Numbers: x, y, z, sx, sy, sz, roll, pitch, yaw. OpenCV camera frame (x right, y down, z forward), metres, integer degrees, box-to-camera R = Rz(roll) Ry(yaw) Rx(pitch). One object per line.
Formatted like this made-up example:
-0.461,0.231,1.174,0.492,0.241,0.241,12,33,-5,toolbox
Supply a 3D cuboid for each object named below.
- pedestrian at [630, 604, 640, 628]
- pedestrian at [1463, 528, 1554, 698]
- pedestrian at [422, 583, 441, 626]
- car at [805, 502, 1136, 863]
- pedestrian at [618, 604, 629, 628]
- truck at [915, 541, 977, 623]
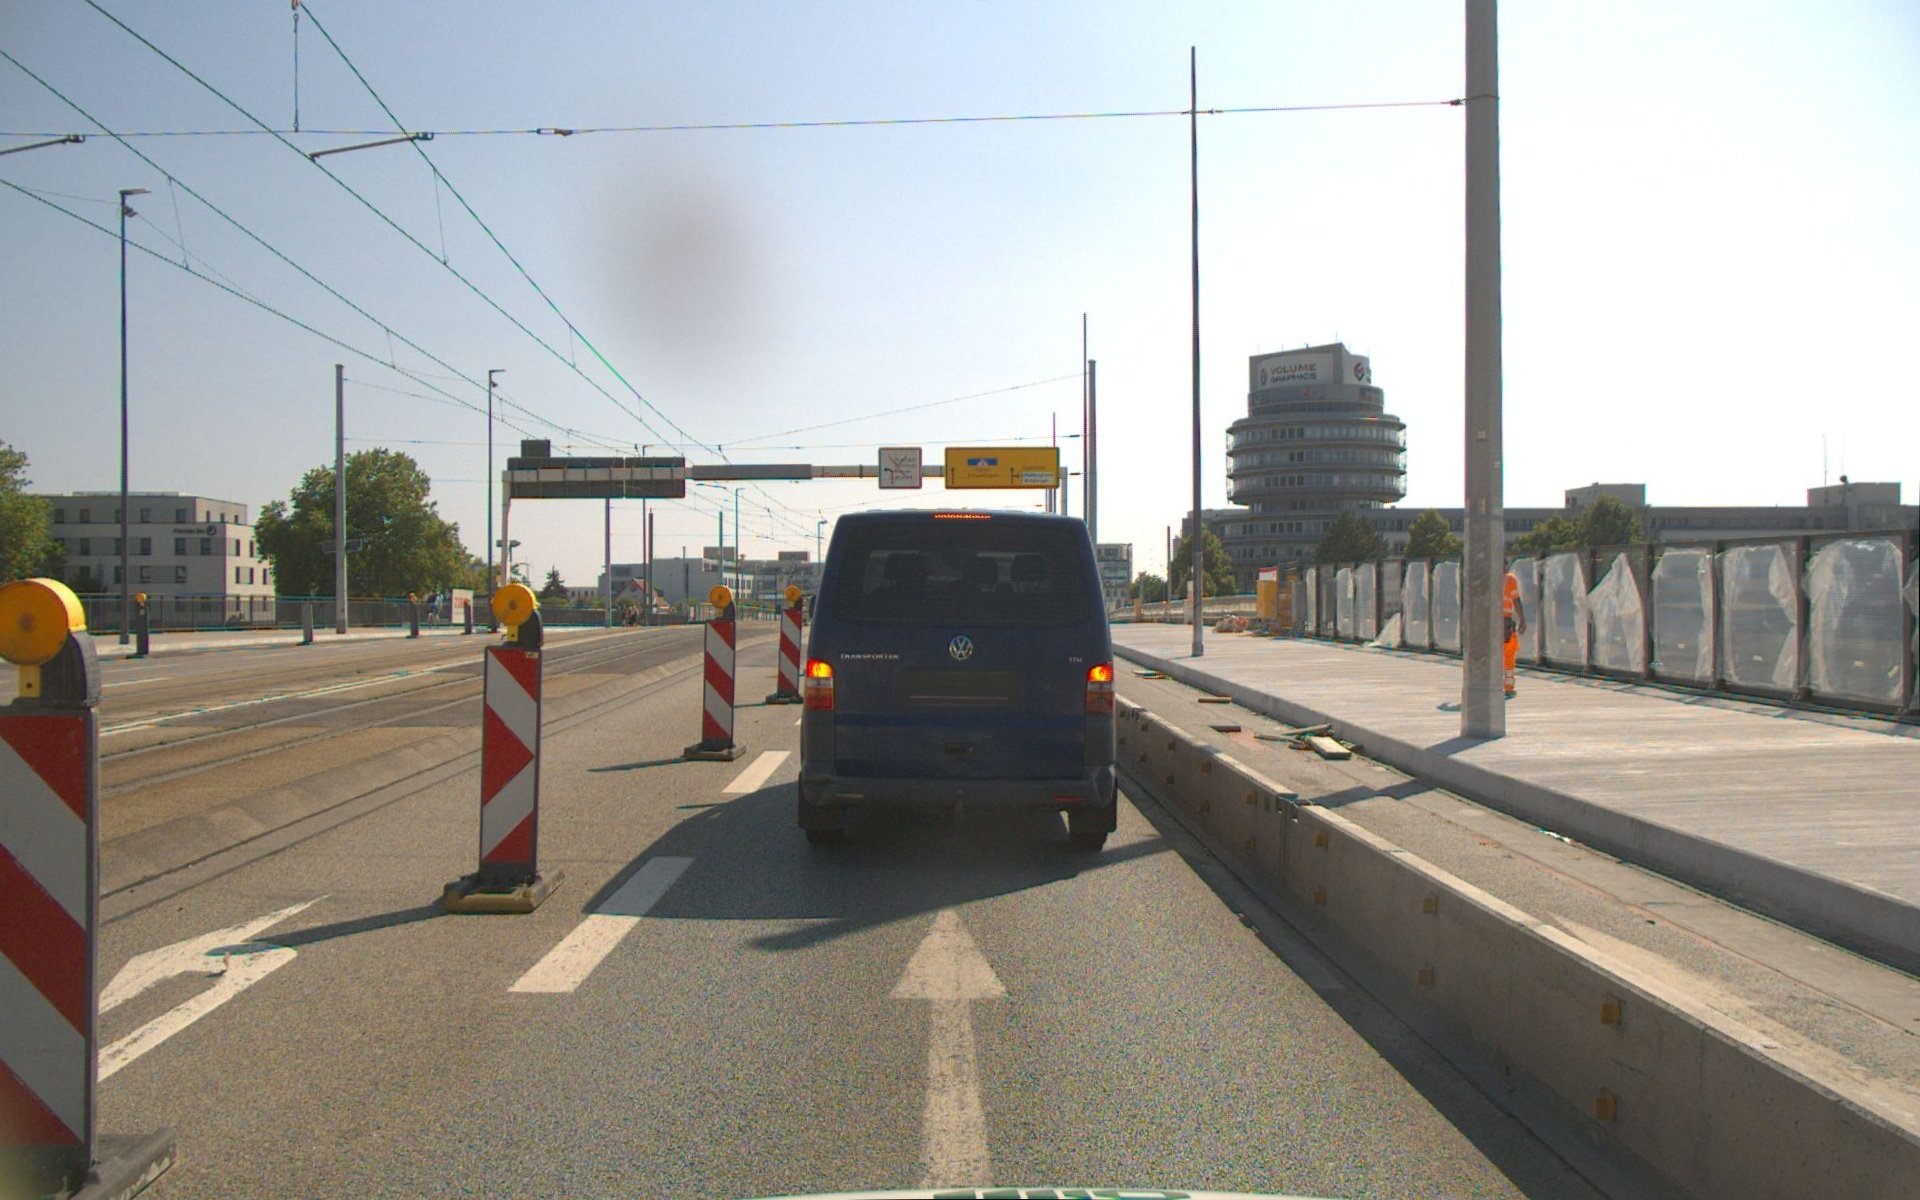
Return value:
-24.362,1.195,123.969,0.621,1.805,0.752,1,0,-1,pedestrian
6.547,0.152,19.780,0.766,1.969,0.799,-1,0,-1,pedestrian
-24.056,0.200,75.288,0.621,1.926,0.752,1,0,-1,pedestrian
0.025,0.435,10.935,1.779,1.939,4.053,0,0,-1,car
-25.149,1.175,123.621,0.621,1.783,0.752,1,0,-1,pedestrian
-0.617,-0.829,70.600,2.410,3.189,11.215,0,1,-1,truck
